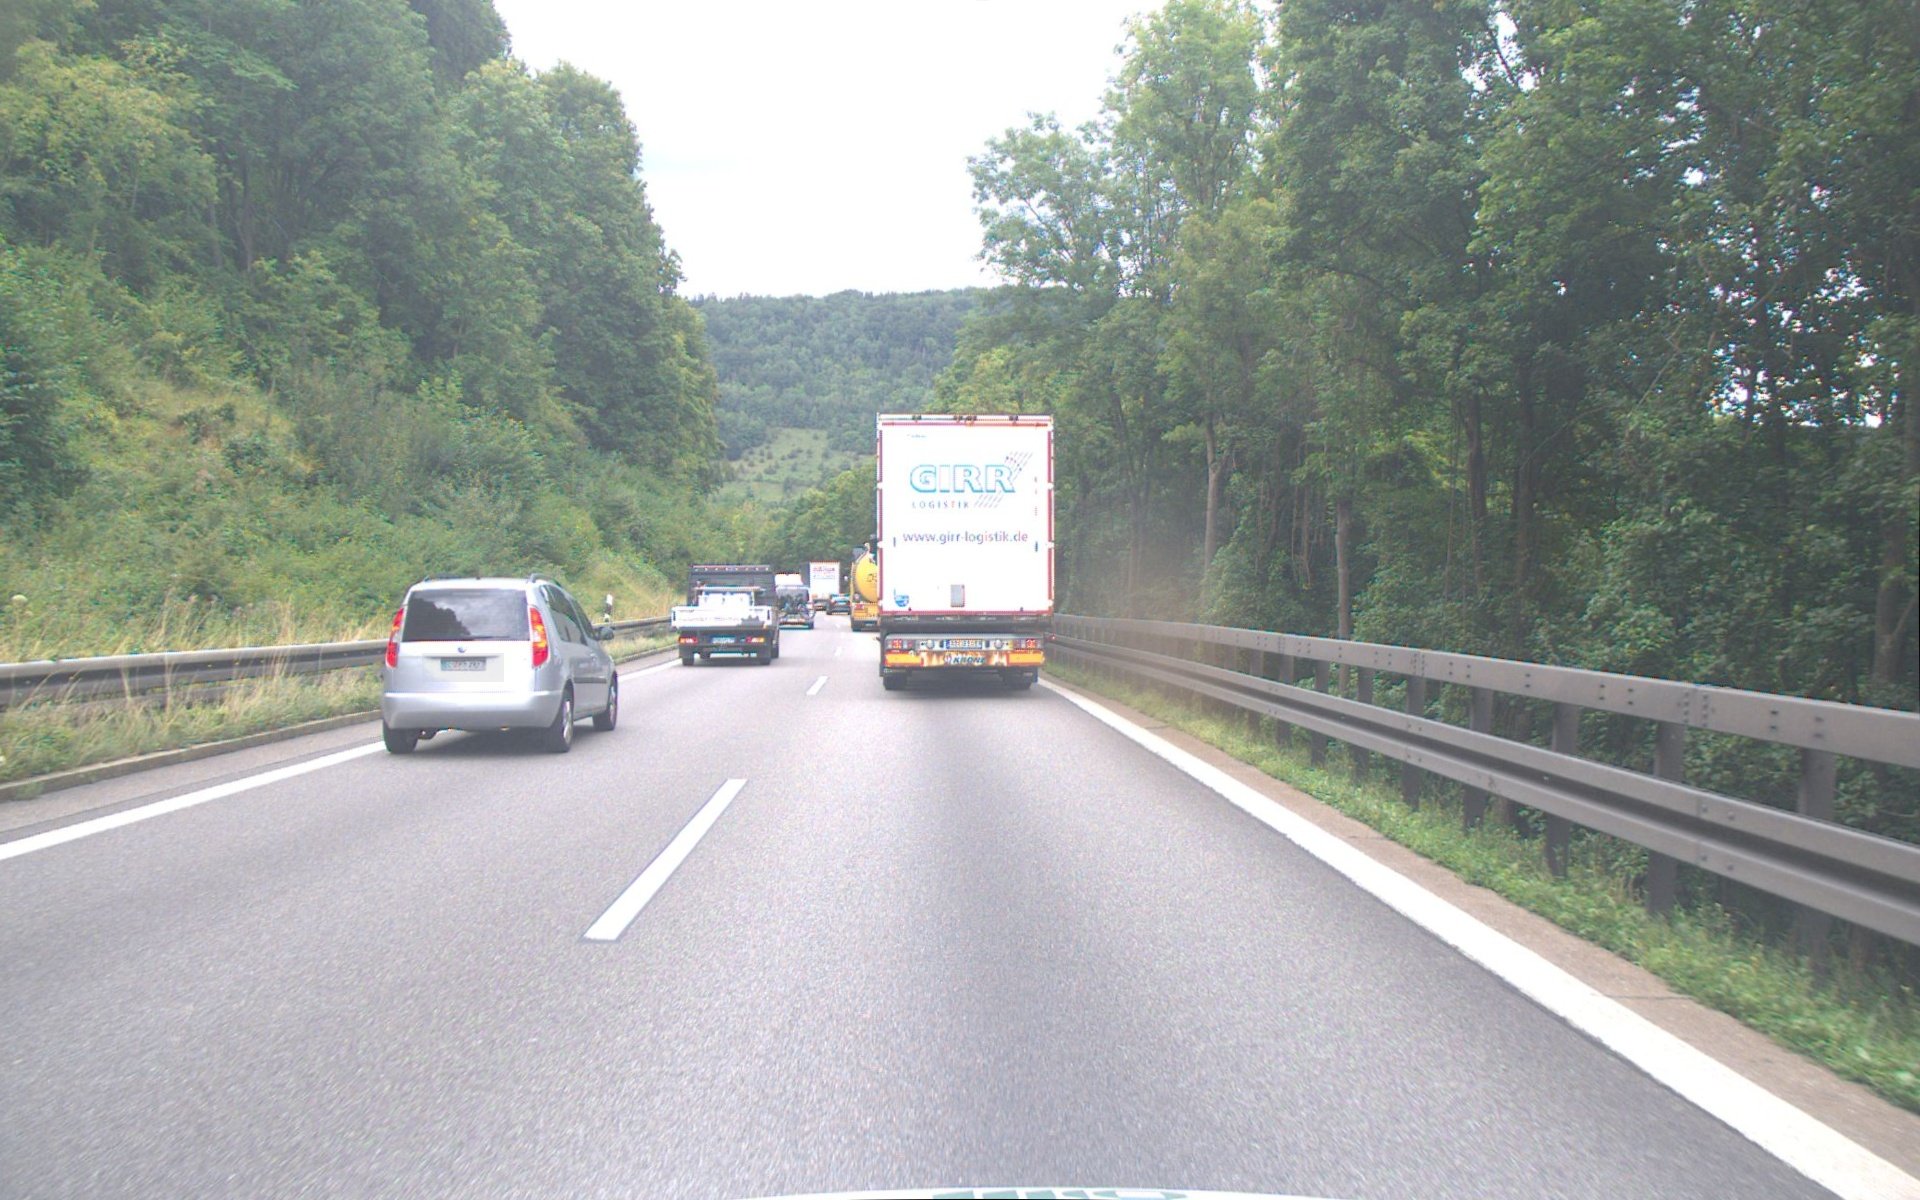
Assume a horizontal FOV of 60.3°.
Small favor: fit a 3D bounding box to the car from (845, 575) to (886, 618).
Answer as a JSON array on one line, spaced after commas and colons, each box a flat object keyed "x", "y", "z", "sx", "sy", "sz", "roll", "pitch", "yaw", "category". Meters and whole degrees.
[{"x": -4.776, "y": -0.166, "z": 83.191, "sx": 1.954, "sy": 2.049, "sz": 4.329, "roll": 1, "pitch": 0, "yaw": -4, "category": "car"}]

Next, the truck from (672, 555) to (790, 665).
[{"x": -5.257, "y": 0.213, "z": 38.846, "sx": 2.303, "sy": 2.313, "sz": 6.842, "roll": 1, "pitch": 0, "yaw": -5, "category": "truck"}]

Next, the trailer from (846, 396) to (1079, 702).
[{"x": -0.058, "y": -0.725, "z": 27.778, "sx": 3.070, "sy": 4.113, "sz": 9.437, "roll": 3, "pitch": 0, "yaw": -1, "category": "trailer"}]

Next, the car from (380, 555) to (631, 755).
[{"x": -4.434, "y": 0.486, "z": 16.765, "sx": 1.602, "sy": 1.757, "sz": 4.341, "roll": 0, "pitch": 0, "yaw": -4, "category": "car"}]

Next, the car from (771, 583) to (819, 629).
[{"x": -7.380, "y": 0.234, "z": 74.372, "sx": 1.978, "sy": 1.948, "sz": 5.558, "roll": 2, "pitch": 0, "yaw": -4, "category": "car"}]

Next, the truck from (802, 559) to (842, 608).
[{"x": -11.628, "y": -1.321, "z": 138.916, "sx": 3.010, "sy": 3.945, "sz": 8.445, "roll": 2, "pitch": 0, "yaw": -7, "category": "truck"}]

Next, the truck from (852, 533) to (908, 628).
[{"x": -3.390, "y": -0.774, "z": 71.210, "sx": 2.188, "sy": 3.870, "sz": 6.820, "roll": 1, "pitch": 0, "yaw": -2, "category": "truck"}]

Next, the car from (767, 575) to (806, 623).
[{"x": -9.864, "y": -0.058, "z": 94.060, "sx": 2.083, "sy": 2.644, "sz": 5.556, "roll": 1, "pitch": 0, "yaw": -6, "category": "car"}]

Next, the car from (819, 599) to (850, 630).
[{"x": -8.785, "y": 1.009, "z": 115.752, "sx": 1.955, "sy": 2.049, "sz": 3.994, "roll": 2, "pitch": 0, "yaw": -7, "category": "car"}]
